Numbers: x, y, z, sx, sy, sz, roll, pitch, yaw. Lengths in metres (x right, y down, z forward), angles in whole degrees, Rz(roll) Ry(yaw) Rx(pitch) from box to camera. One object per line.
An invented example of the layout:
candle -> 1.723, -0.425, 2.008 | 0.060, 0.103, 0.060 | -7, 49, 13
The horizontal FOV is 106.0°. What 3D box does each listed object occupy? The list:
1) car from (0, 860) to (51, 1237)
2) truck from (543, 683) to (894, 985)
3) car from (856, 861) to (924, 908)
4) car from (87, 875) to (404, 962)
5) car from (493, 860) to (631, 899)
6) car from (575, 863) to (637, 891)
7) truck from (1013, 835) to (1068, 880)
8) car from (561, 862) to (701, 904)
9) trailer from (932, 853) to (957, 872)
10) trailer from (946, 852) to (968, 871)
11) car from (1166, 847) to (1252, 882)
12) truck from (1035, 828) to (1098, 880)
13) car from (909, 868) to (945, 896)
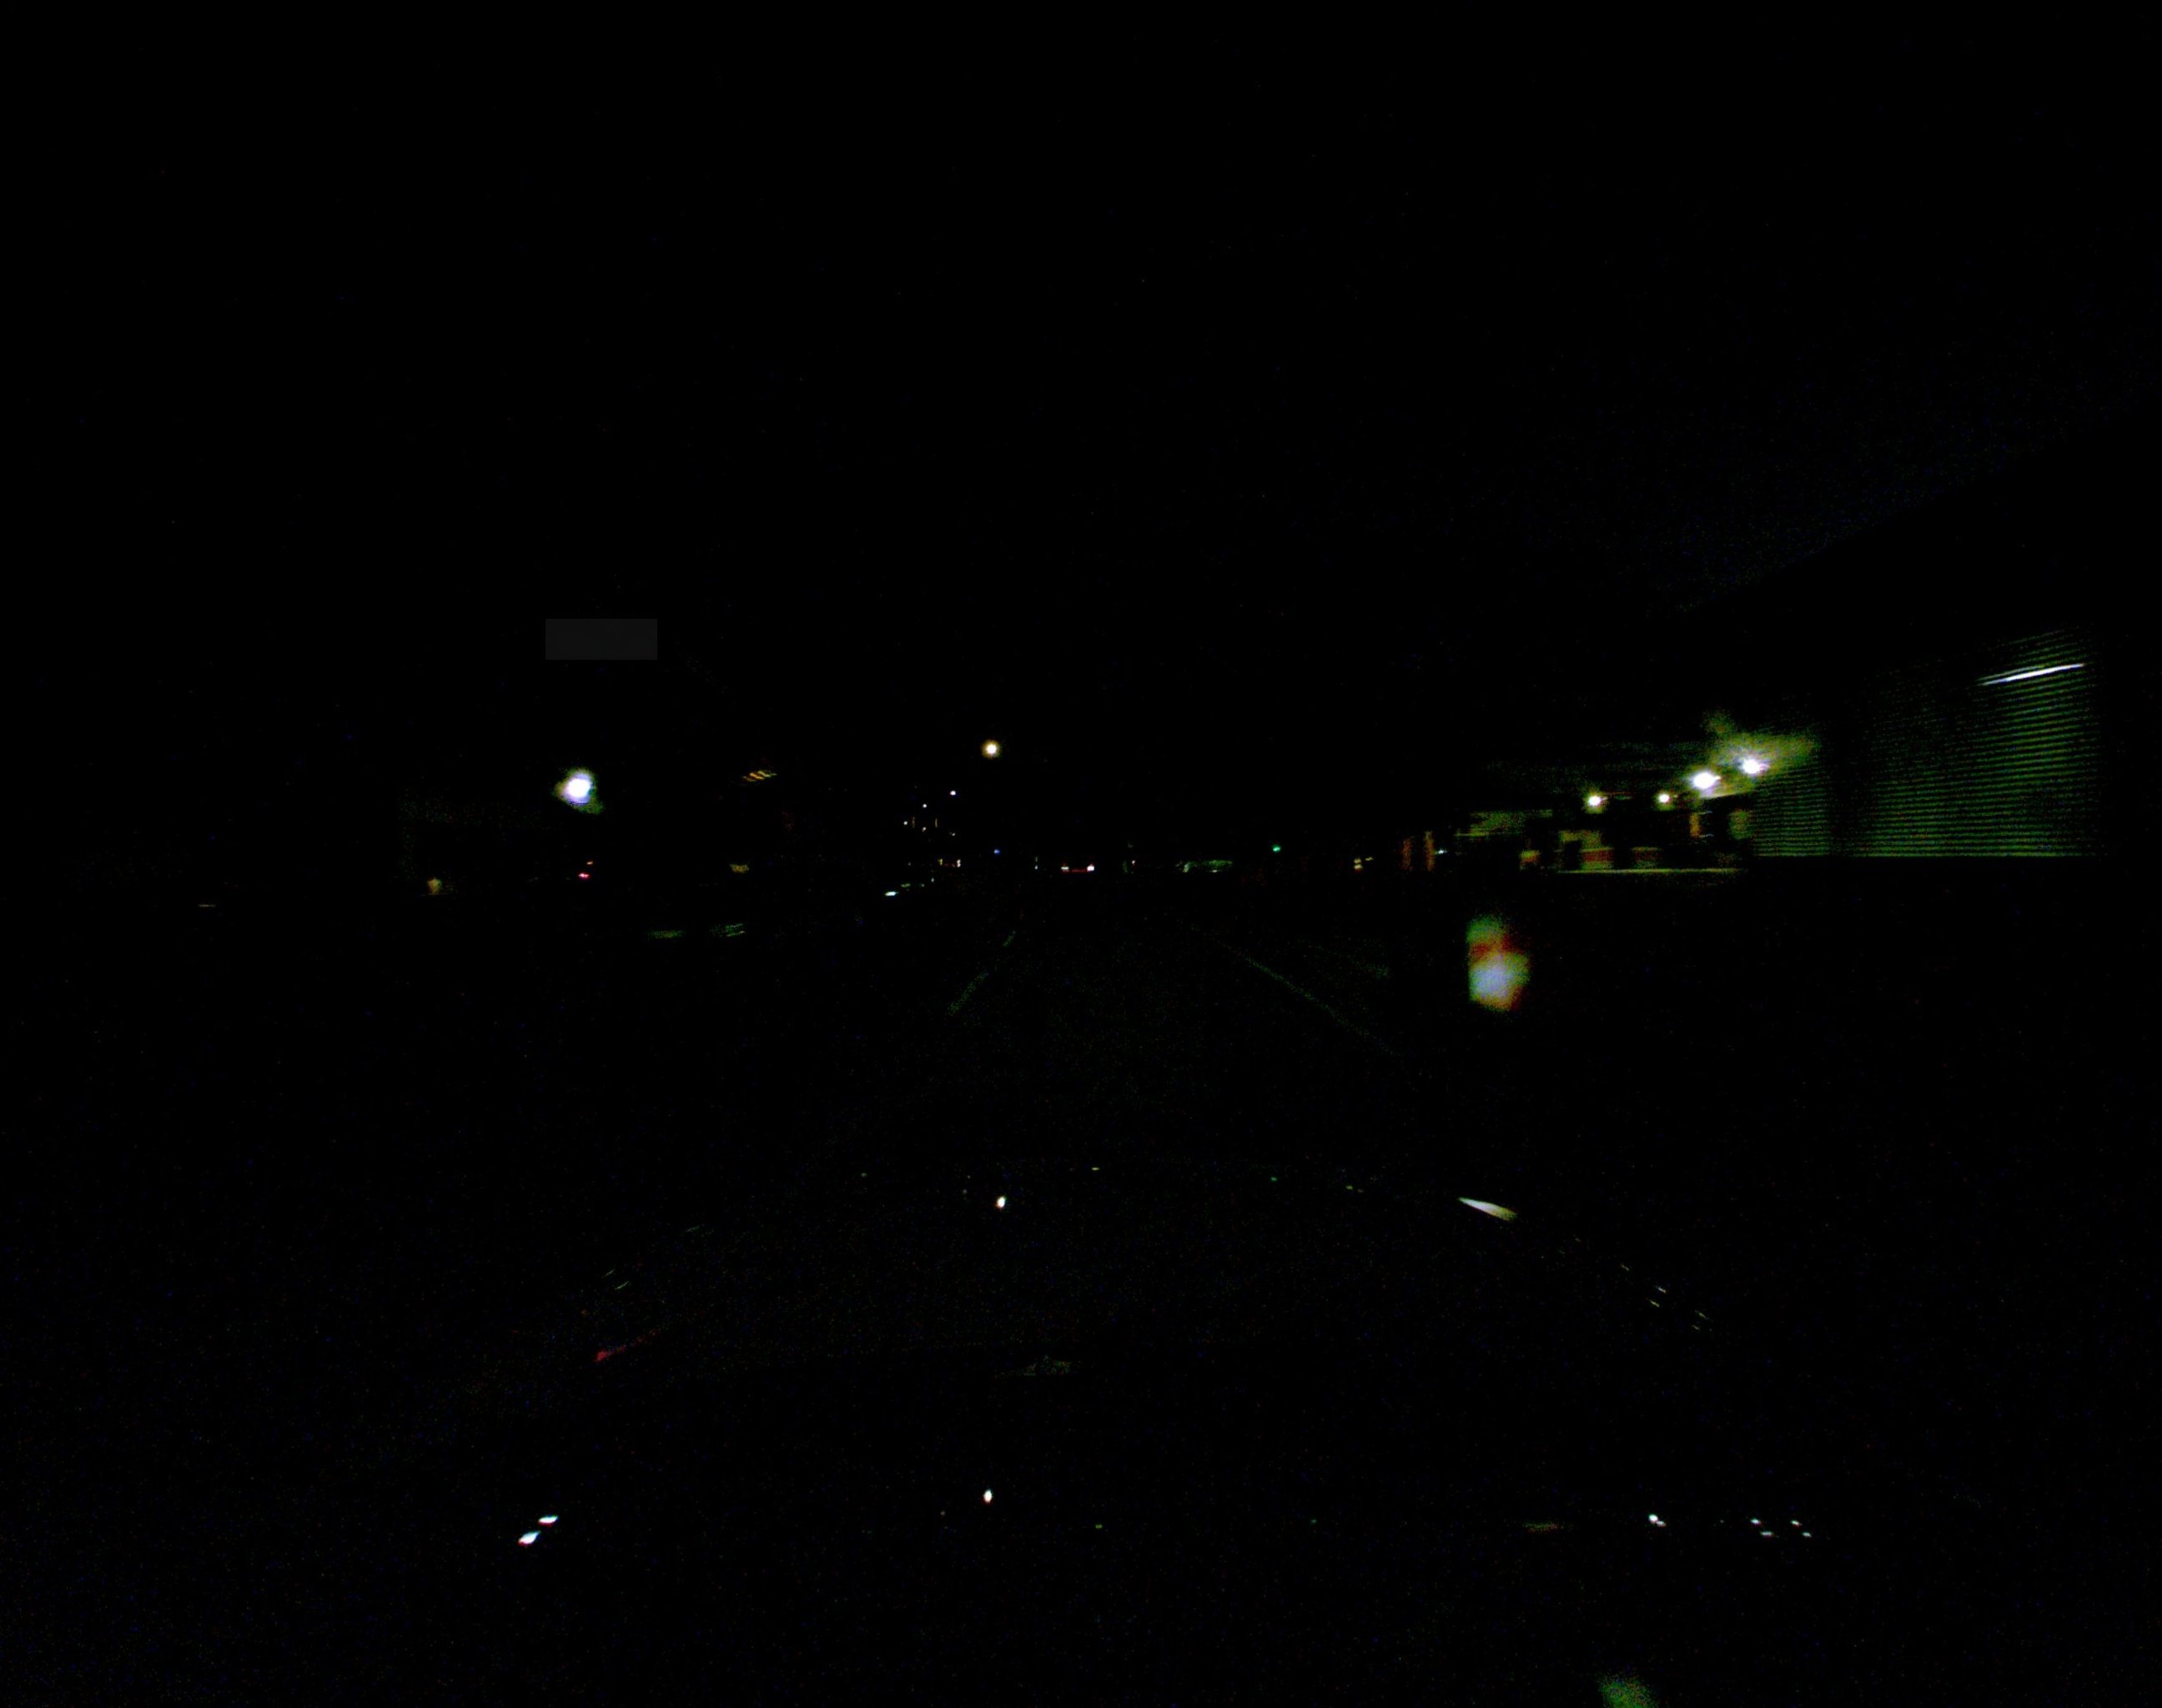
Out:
car -> -5.981, 0.900, 1.305 | 1.936, 1.717, 5.200 | -2, 0, 2
truck -> -6.099, -0.259, 15.959 | 2.765, 4.120, 9.335 | -2, 0, -1
car -> -7.088, 1.086, 30.637 | 1.864, 1.593, 4.485 | -1, 0, -5
car -> -16.361, 1.216, 16.183 | 4.020, 1.424, 1.859 | -2, 0, -9
car -> -21.305, 1.025, 33.591 | 4.407, 1.452, 1.820 | -1, -1, -12
car -> -29.577, 1.370, 50.840 | 1.994, 1.641, 4.188 | 0, 0, -10
truck -> -3.836, 0.377, 73.977 | 2.760, 3.783, 10.171 | -2, -1, -15
car -> -17.514, 1.106, 31.919 | 4.406, 1.482, 1.885 | -1, -1, -12
trailer -> -23.586, 1.442, 140.572 | 3.491, 3.219, 4.834 | 0, -1, -19
trailer -> -19.372, 1.173, 126.876 | 2.621, 2.846, 4.679 | 0, -1, -19
car -> 7.264, 0.596, 46.281 | 4.336, 1.646, 1.882 | -4, 1, -17
truck -> -1.319, 0.044, 64.240 | 2.760, 3.783, 9.090 | -2, -1, -15
car -> -8.472, 1.496, 44.714 | 1.815, 1.371, 4.343 | -1, 0, -12
